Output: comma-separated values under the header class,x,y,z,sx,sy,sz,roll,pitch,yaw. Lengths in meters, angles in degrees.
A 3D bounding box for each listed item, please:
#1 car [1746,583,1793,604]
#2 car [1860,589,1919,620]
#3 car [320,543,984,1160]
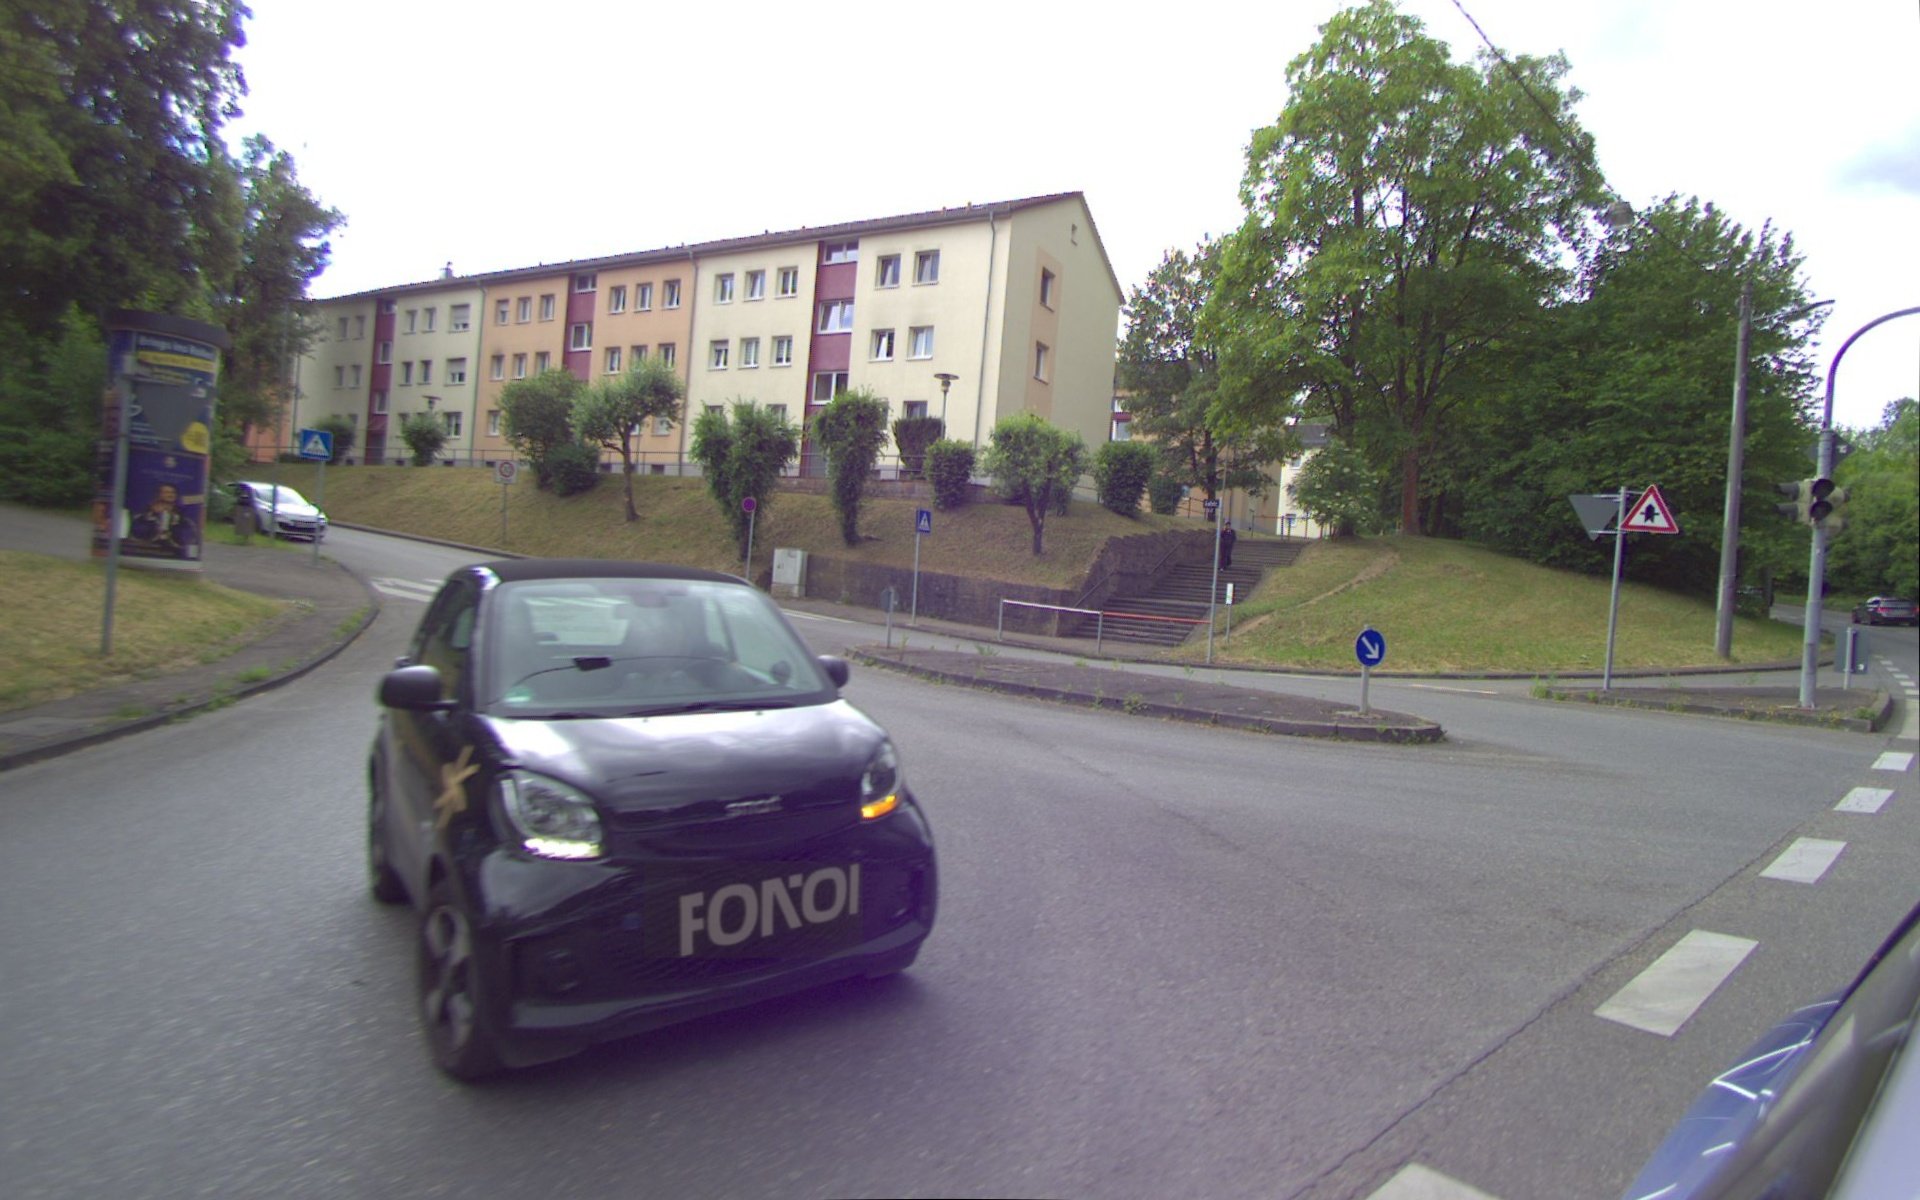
class,x,y,z,sx,sy,sz,roll,pitch,yaw
car,58.527,-0.469,73.247,1.791,1.452,4.616,0,1,27
car,47.599,0.193,51.245,1.887,1.370,4.797,1,3,28
car,-1.580,0.551,4.293,1.637,1.513,3.314,1,2,-37
